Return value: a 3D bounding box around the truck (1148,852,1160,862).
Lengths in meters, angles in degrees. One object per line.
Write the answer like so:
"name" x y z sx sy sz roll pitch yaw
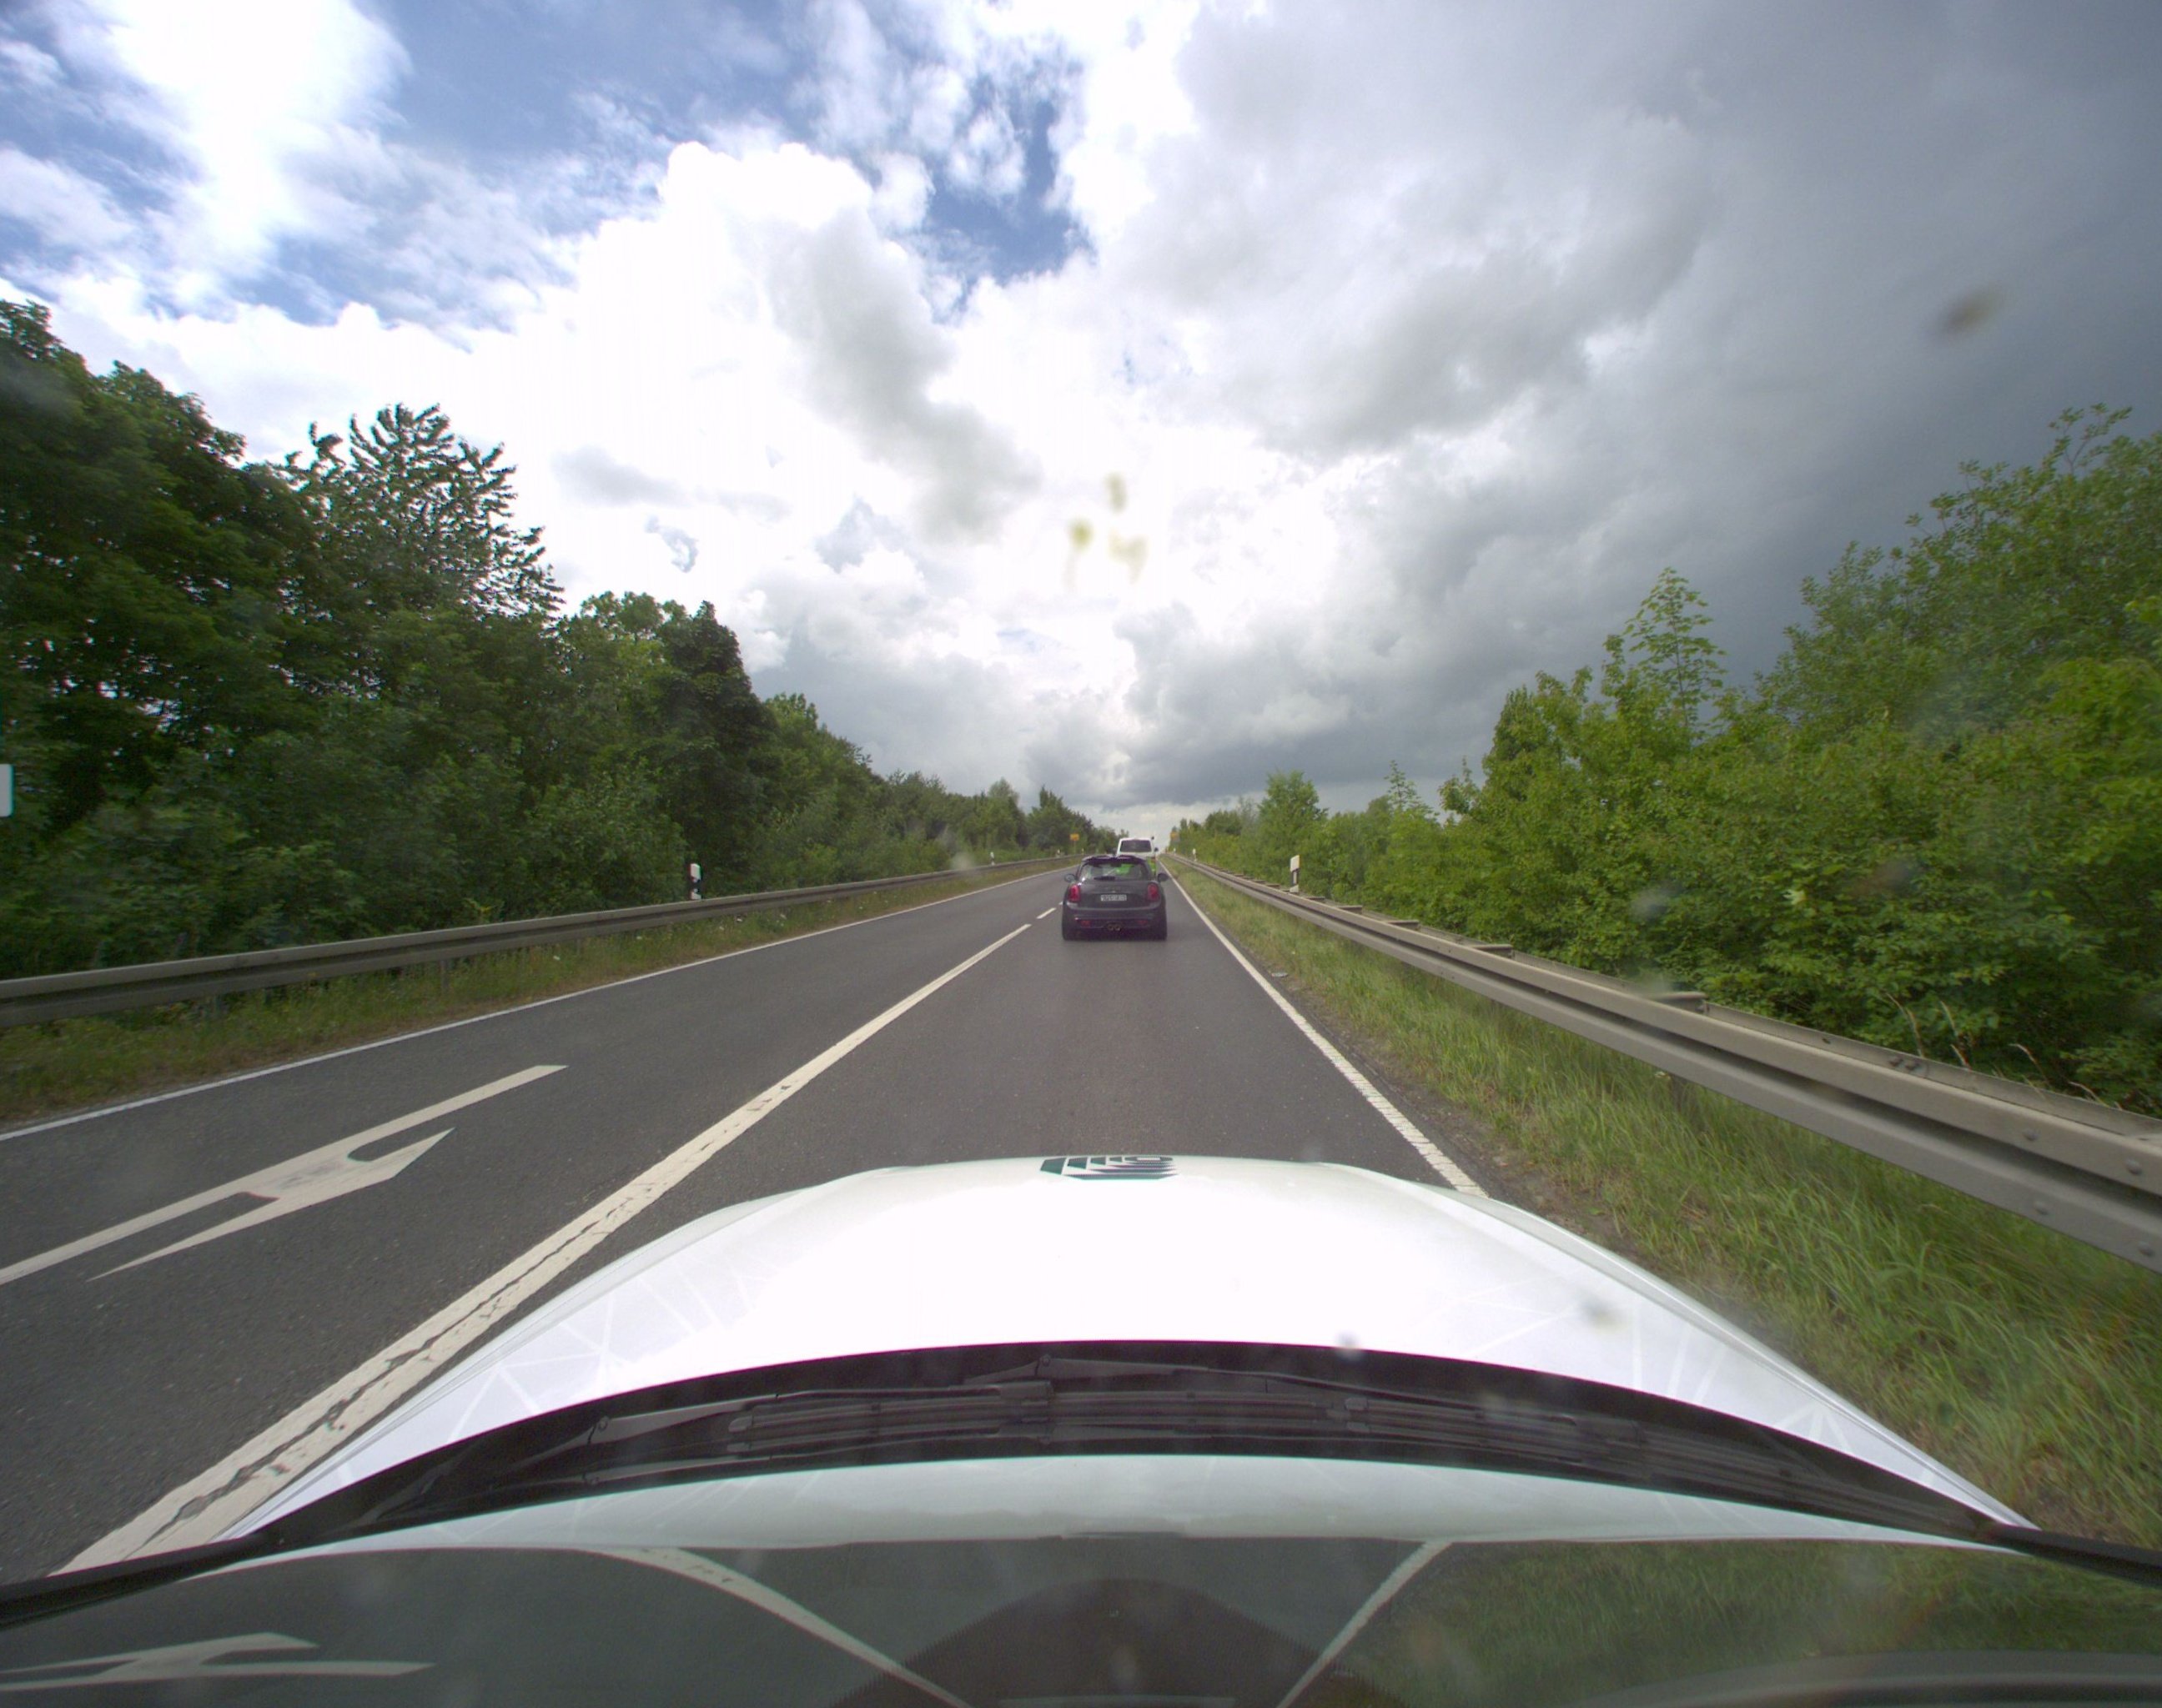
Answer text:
"truck" 21.601 0.853 239.888 2.894 2.372 10.474 -3 0 7

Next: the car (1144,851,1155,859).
"car" 11.936 0.108 142.401 1.685 1.319 4.008 -3 0 7

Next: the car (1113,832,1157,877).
"car" 2.616 -0.004 38.872 2.013 2.013 4.006 0 1 5

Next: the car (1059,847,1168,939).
"car" 0.551 0.605 14.972 1.726 1.455 4.000 0 0 1
